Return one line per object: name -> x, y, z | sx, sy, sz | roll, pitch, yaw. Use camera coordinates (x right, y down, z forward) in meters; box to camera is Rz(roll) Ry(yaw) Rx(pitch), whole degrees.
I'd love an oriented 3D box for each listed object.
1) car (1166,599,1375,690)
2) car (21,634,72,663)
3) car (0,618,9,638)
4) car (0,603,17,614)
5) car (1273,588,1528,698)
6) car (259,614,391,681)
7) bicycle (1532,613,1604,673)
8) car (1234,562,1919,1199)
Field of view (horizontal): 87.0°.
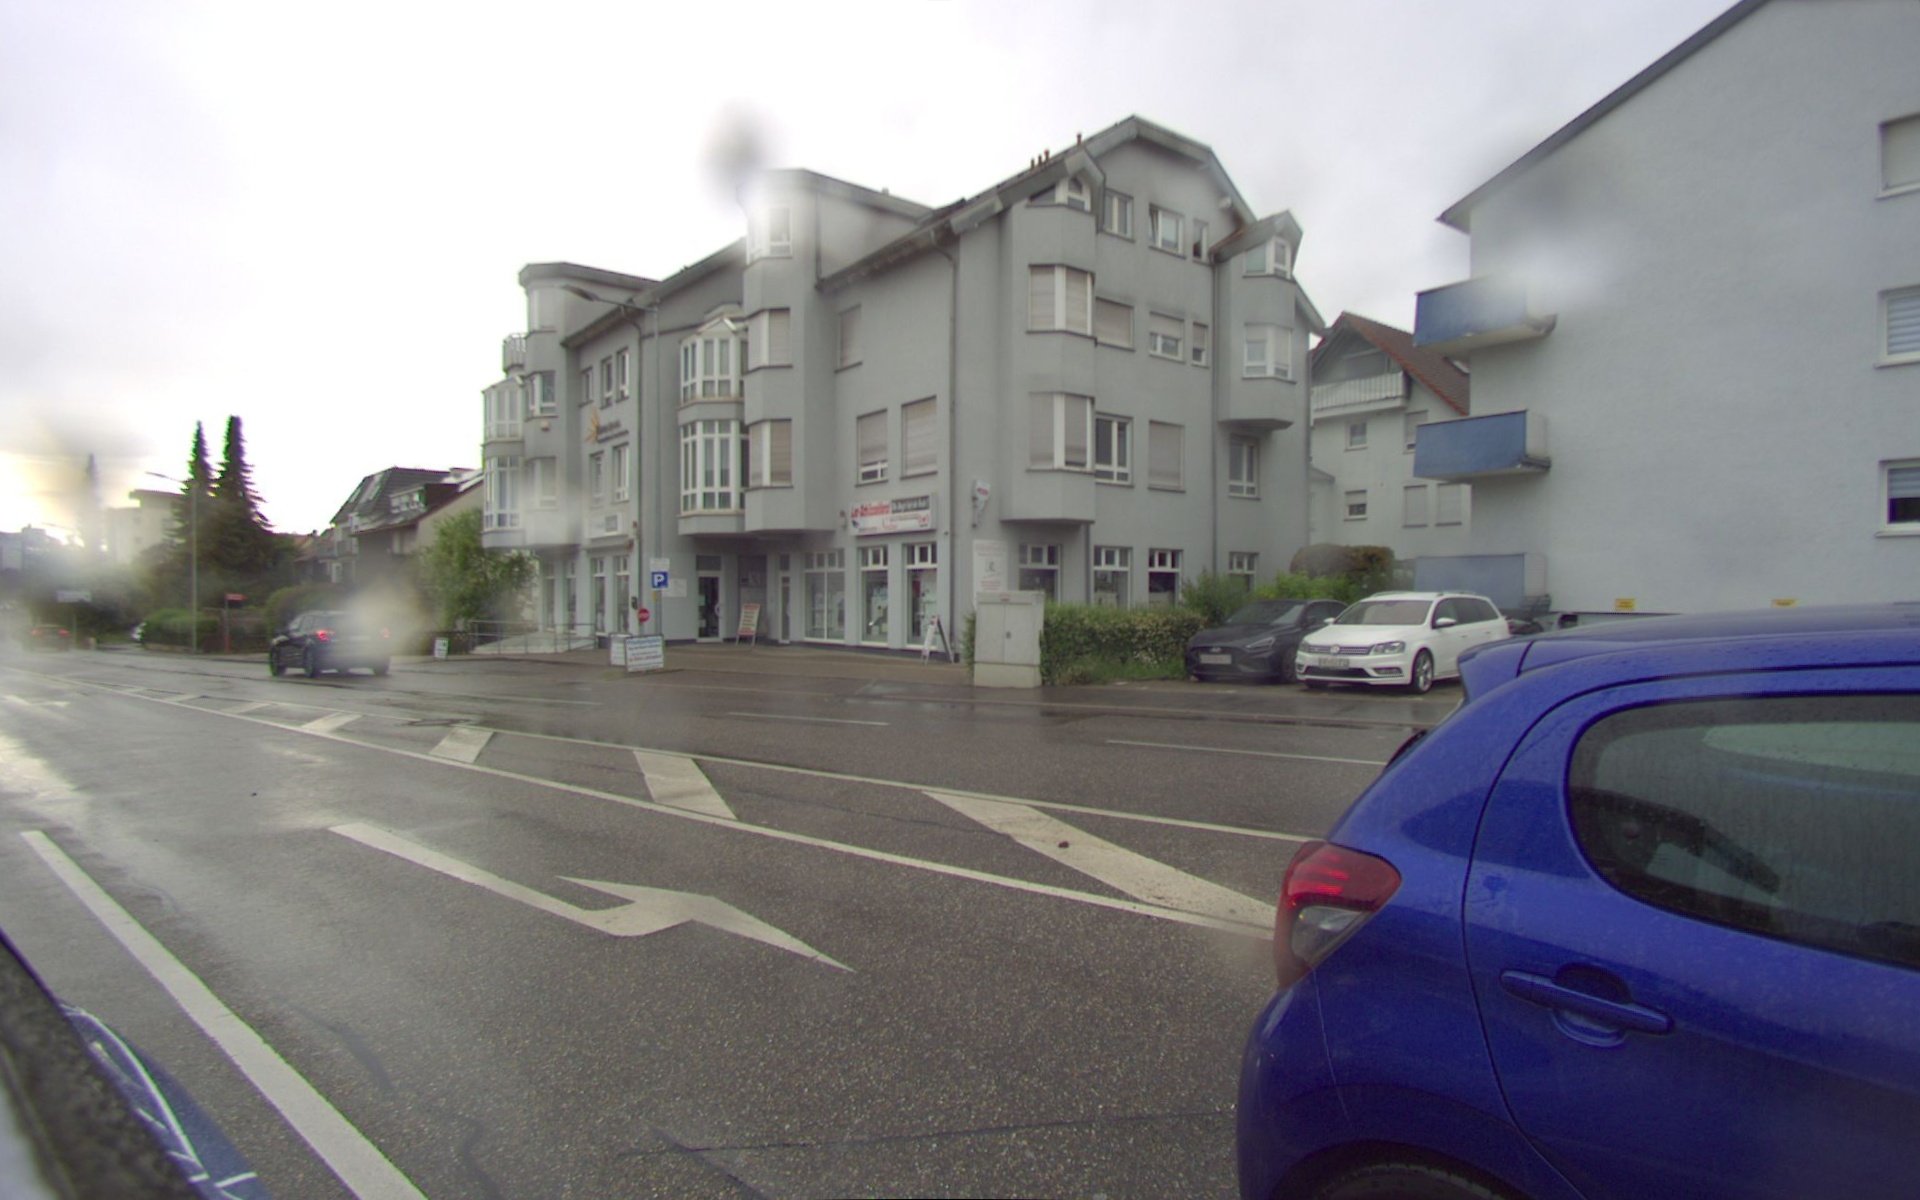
car -> 5.490, 0.689, 17.644 | 1.851, 1.366, 3.941 | -1, 0, 45
car -> -53.493, 2.812, 59.225 | 4.001, 1.523, 1.945 | -1, 0, 44
car -> -80.934, 2.376, 84.363 | 4.537, 1.637, 1.973 | -2, -1, 41
car -> -165.803, 1.425, 176.132 | 1.967, 1.832, 4.010 | -1, 0, -36
car -> 6.979, 0.603, 15.800 | 4.685, 1.471, 1.883 | 0, -2, -42
car -> -16.657, 1.193, 26.483 | 4.183, 1.609, 1.859 | -2, -2, 42
bicycle -> 11.140, 0.792, 18.556 | 1.065, 1.061, 0.343 | -2, -1, 41
car -> 2.234, 0.638, 1.191 | 3.362, 1.423, 1.489 | -2, -1, 41
